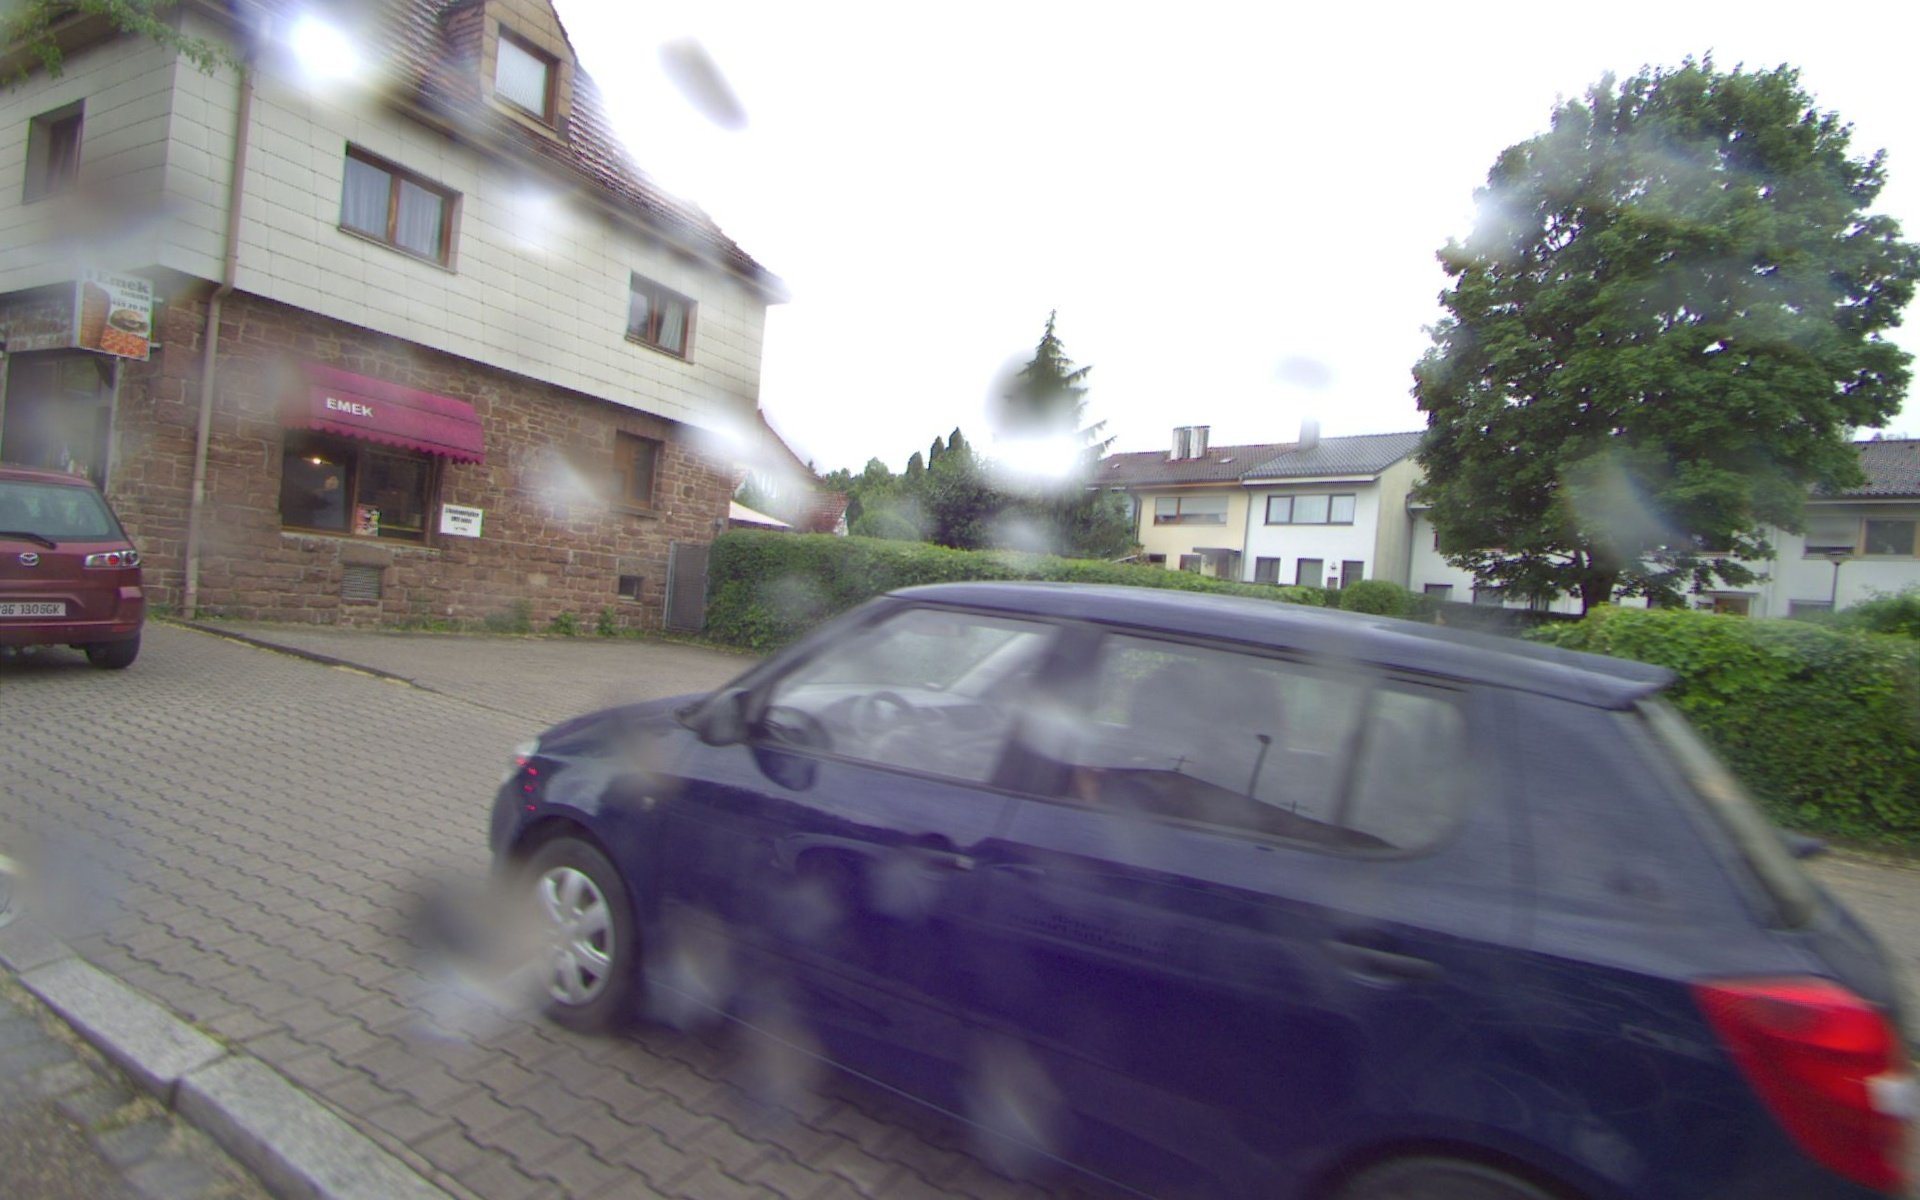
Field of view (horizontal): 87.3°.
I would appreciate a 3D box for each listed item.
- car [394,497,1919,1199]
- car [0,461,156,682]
[{"bbox_3d":[0.195,0.624,3.009,3.792,1.492,1.604,7,3,31],"label":"car"},{"bbox_3d":[-8.116,-0.384,7.898,3.565,1.511,1.584,8,3,30],"label":"car"}]
